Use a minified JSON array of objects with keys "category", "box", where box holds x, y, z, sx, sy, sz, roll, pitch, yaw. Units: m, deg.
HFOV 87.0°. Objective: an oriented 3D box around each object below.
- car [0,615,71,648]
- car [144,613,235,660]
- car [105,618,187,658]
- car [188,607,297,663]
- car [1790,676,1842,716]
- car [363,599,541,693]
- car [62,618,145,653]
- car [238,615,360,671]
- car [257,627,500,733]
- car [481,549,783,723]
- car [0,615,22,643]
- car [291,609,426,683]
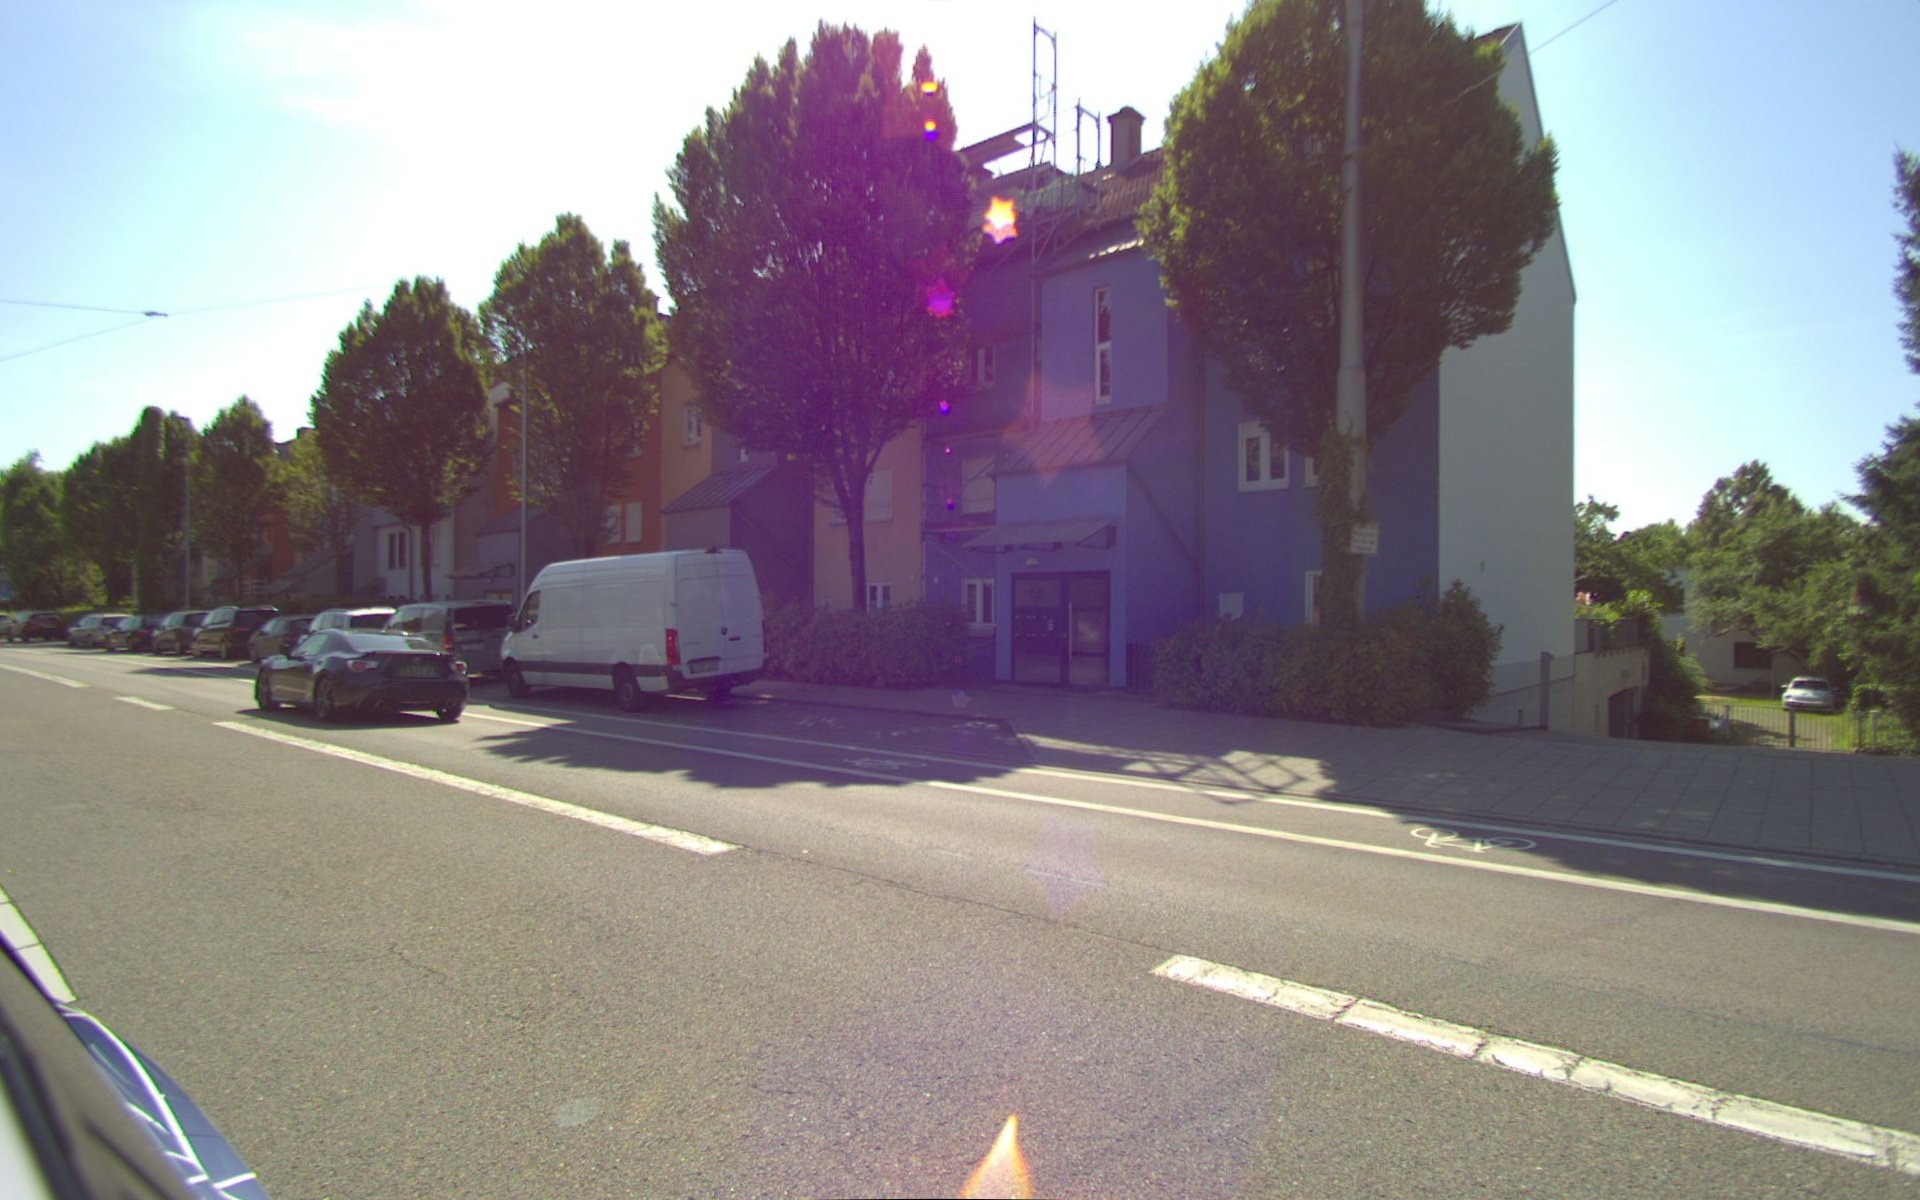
[{"category":"car","box":[-47.792,1.585,52.125,4.920,1.588,1.889,0,0,35]},{"category":"car","box":[-28.741,1.311,37.697,4.159,1.619,1.661,0,0,38]},{"category":"car","box":[-33.148,1.490,41.199,4.207,1.481,1.661,0,0,38]},{"category":"car","box":[-24.301,1.133,34.229,4.343,1.741,1.812,0,1,38]},{"category":"car","box":[38.189,4.245,45.147,1.646,1.336,3.946,-3,0,41]},{"category":"car","box":[-12.118,1.012,23.988,4.964,1.879,1.973,-1,3,41]},{"category":"car","box":[-38.519,1.568,45.484,4.826,1.457,1.663,0,0,35]},{"category":"car","box":[-20.273,1.262,30.997,4.069,1.466,1.849,0,2,38]},{"category":"car","box":[-8.268,1.056,14.248,4.062,1.254,1.670,-1,-4,41]},{"category":"car","box":[-6.326,0.561,18.797,7.084,2.697,1.973,-1,2,42]},{"category":"car","box":[-54.241,1.610,56.415,4.123,1.510,2.017,0,0,35]},{"category":"car","box":[-16.388,1.172,27.491,4.539,1.715,1.829,0,3,42]}]
